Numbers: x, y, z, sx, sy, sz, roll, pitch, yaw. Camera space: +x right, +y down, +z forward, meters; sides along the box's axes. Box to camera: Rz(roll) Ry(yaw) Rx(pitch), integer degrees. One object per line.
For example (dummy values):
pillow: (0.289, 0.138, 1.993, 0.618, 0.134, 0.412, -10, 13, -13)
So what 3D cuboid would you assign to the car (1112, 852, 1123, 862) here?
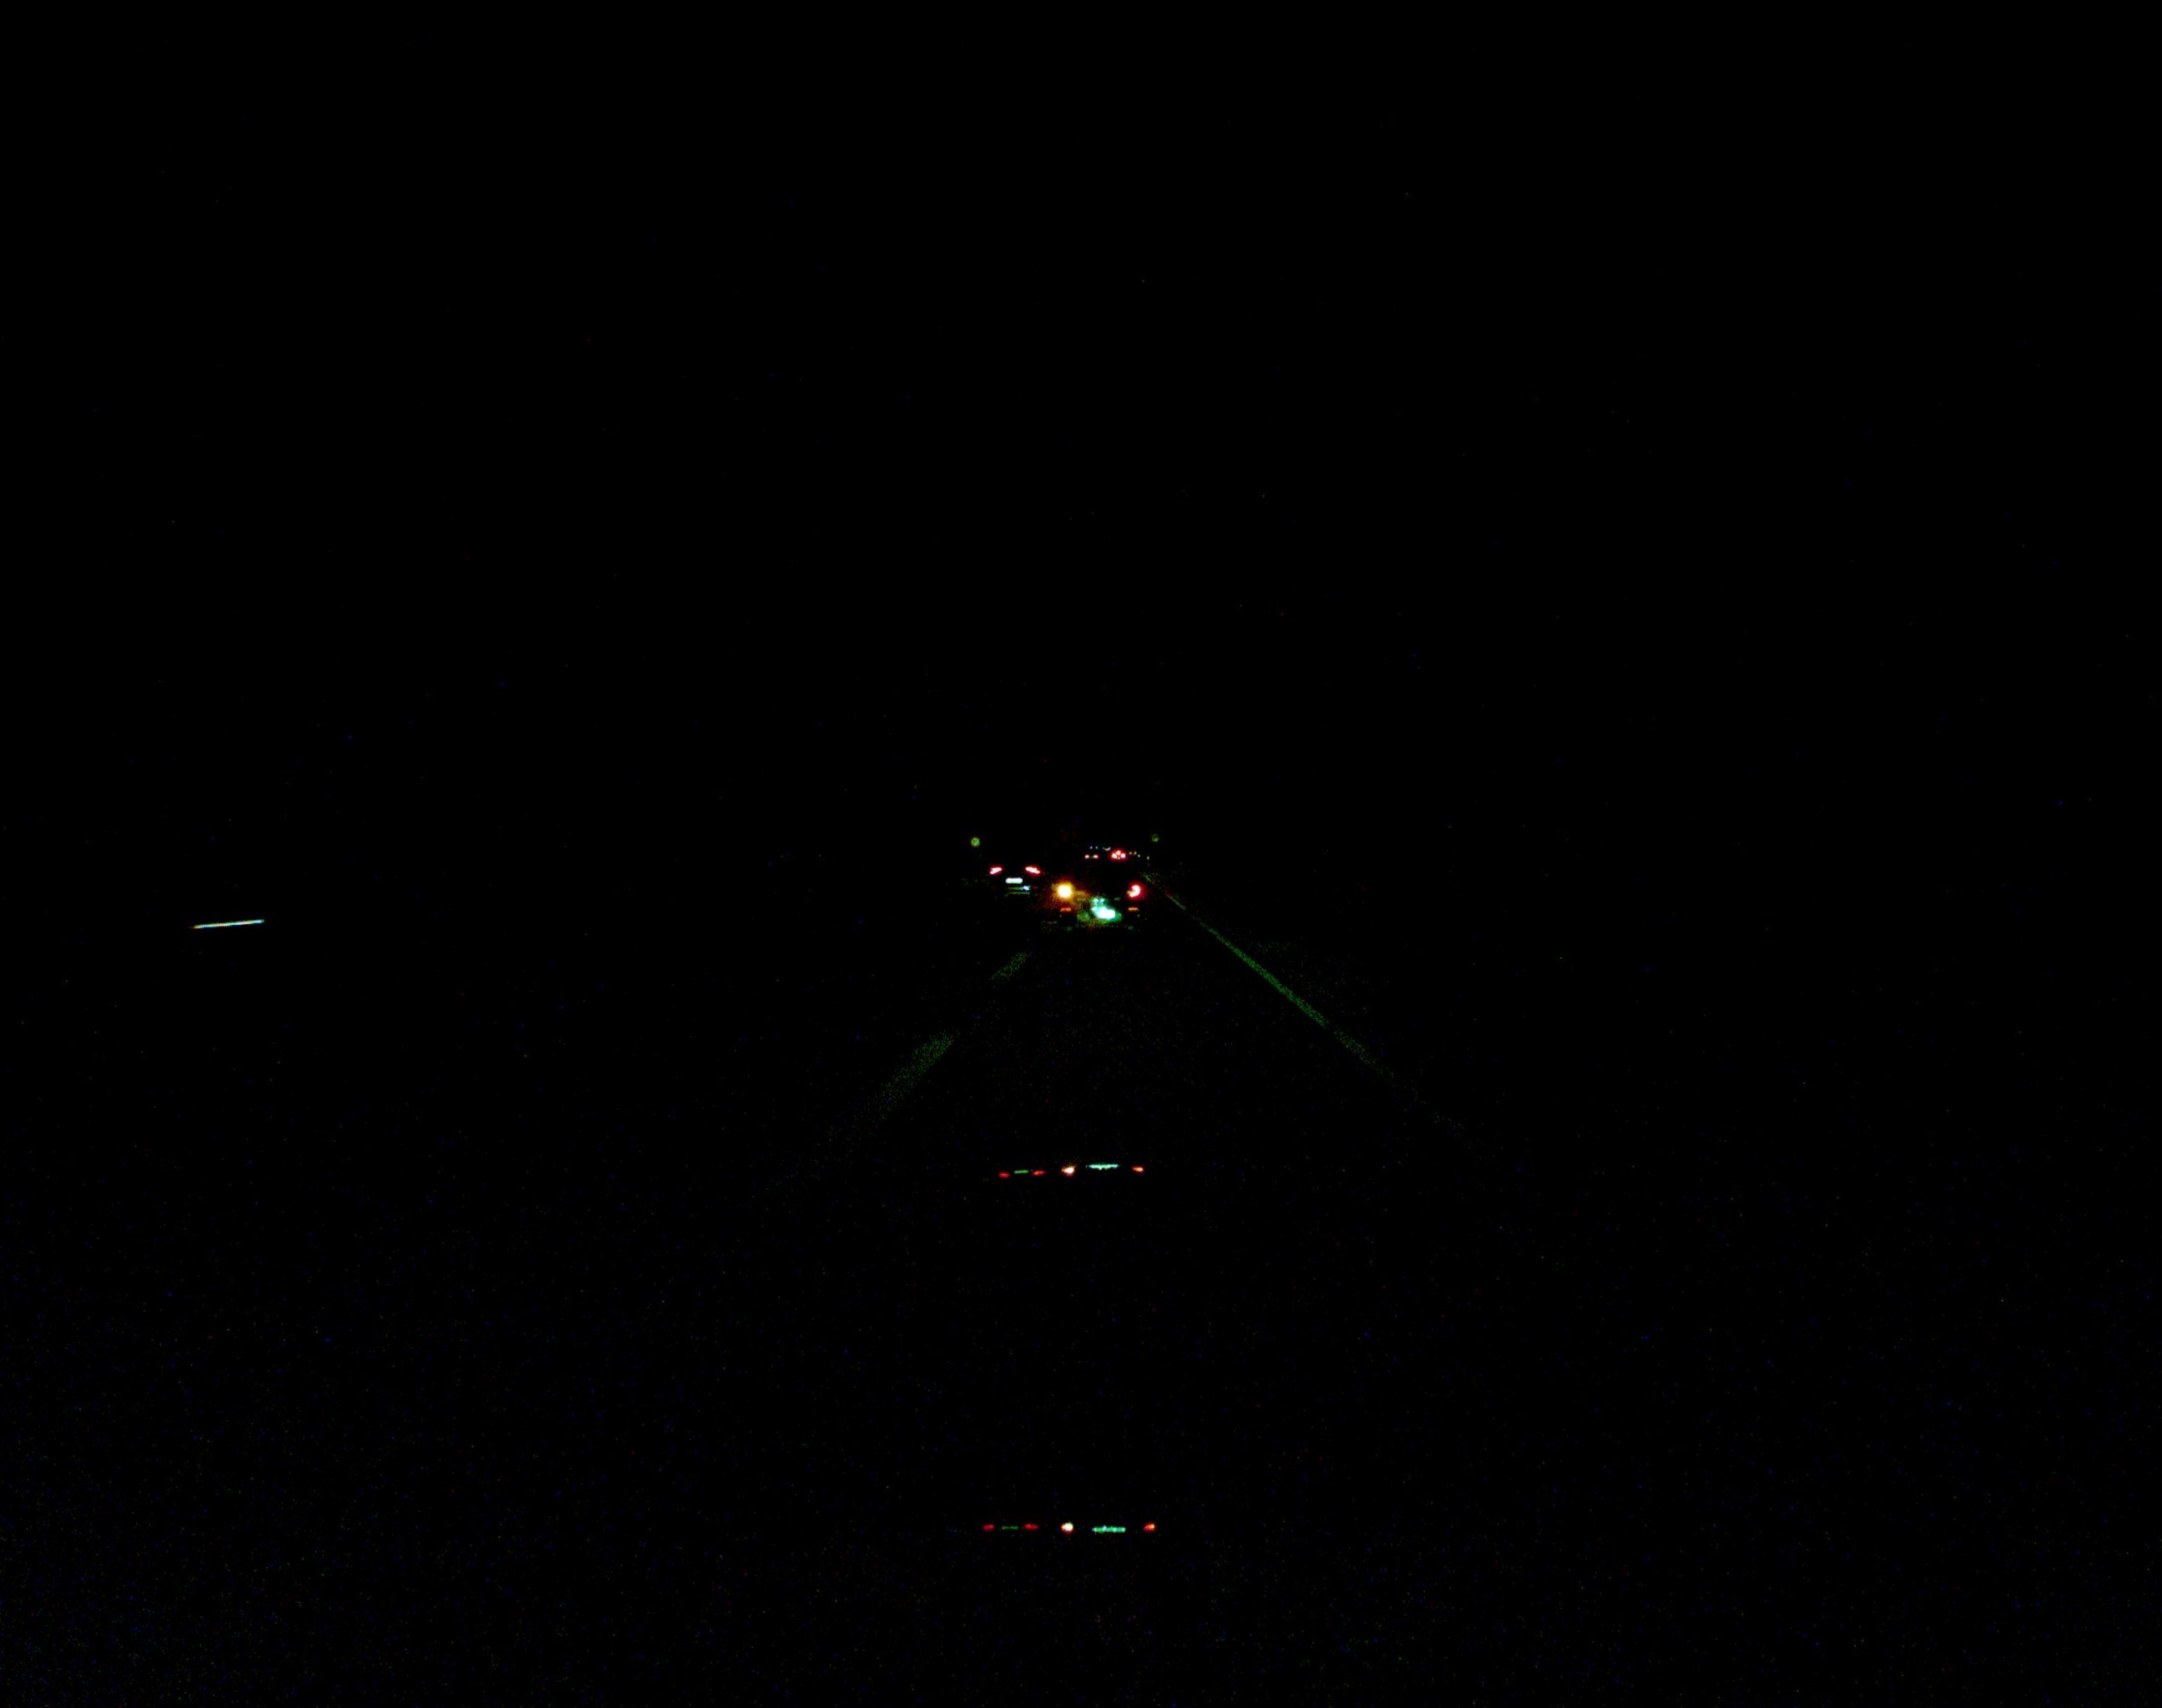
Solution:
car: (5.926, 0.535, 131.911, 1.727, 1.618, 3.799, -1, 0, 1)

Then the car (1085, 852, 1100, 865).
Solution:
car: (1.647, 0.646, 115.240, 1.944, 1.538, 4.243, -5, -2, 2)

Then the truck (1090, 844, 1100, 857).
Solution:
truck: (4.480, -1.160, 259.193, 2.664, 4.177, 5.875, -1, 0, 4)

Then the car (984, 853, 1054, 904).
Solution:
car: (-2.121, 0.802, 29.008, 1.932, 1.608, 4.646, 0, 0, 2)

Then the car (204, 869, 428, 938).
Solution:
car: (-19.214, 1.170, 20.740, 1.819, 1.508, 4.002, -1, 0, 2)

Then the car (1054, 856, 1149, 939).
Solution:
car: (0.308, 0.781, 16.489, 1.687, 1.478, 3.997, 0, 0, -2)
